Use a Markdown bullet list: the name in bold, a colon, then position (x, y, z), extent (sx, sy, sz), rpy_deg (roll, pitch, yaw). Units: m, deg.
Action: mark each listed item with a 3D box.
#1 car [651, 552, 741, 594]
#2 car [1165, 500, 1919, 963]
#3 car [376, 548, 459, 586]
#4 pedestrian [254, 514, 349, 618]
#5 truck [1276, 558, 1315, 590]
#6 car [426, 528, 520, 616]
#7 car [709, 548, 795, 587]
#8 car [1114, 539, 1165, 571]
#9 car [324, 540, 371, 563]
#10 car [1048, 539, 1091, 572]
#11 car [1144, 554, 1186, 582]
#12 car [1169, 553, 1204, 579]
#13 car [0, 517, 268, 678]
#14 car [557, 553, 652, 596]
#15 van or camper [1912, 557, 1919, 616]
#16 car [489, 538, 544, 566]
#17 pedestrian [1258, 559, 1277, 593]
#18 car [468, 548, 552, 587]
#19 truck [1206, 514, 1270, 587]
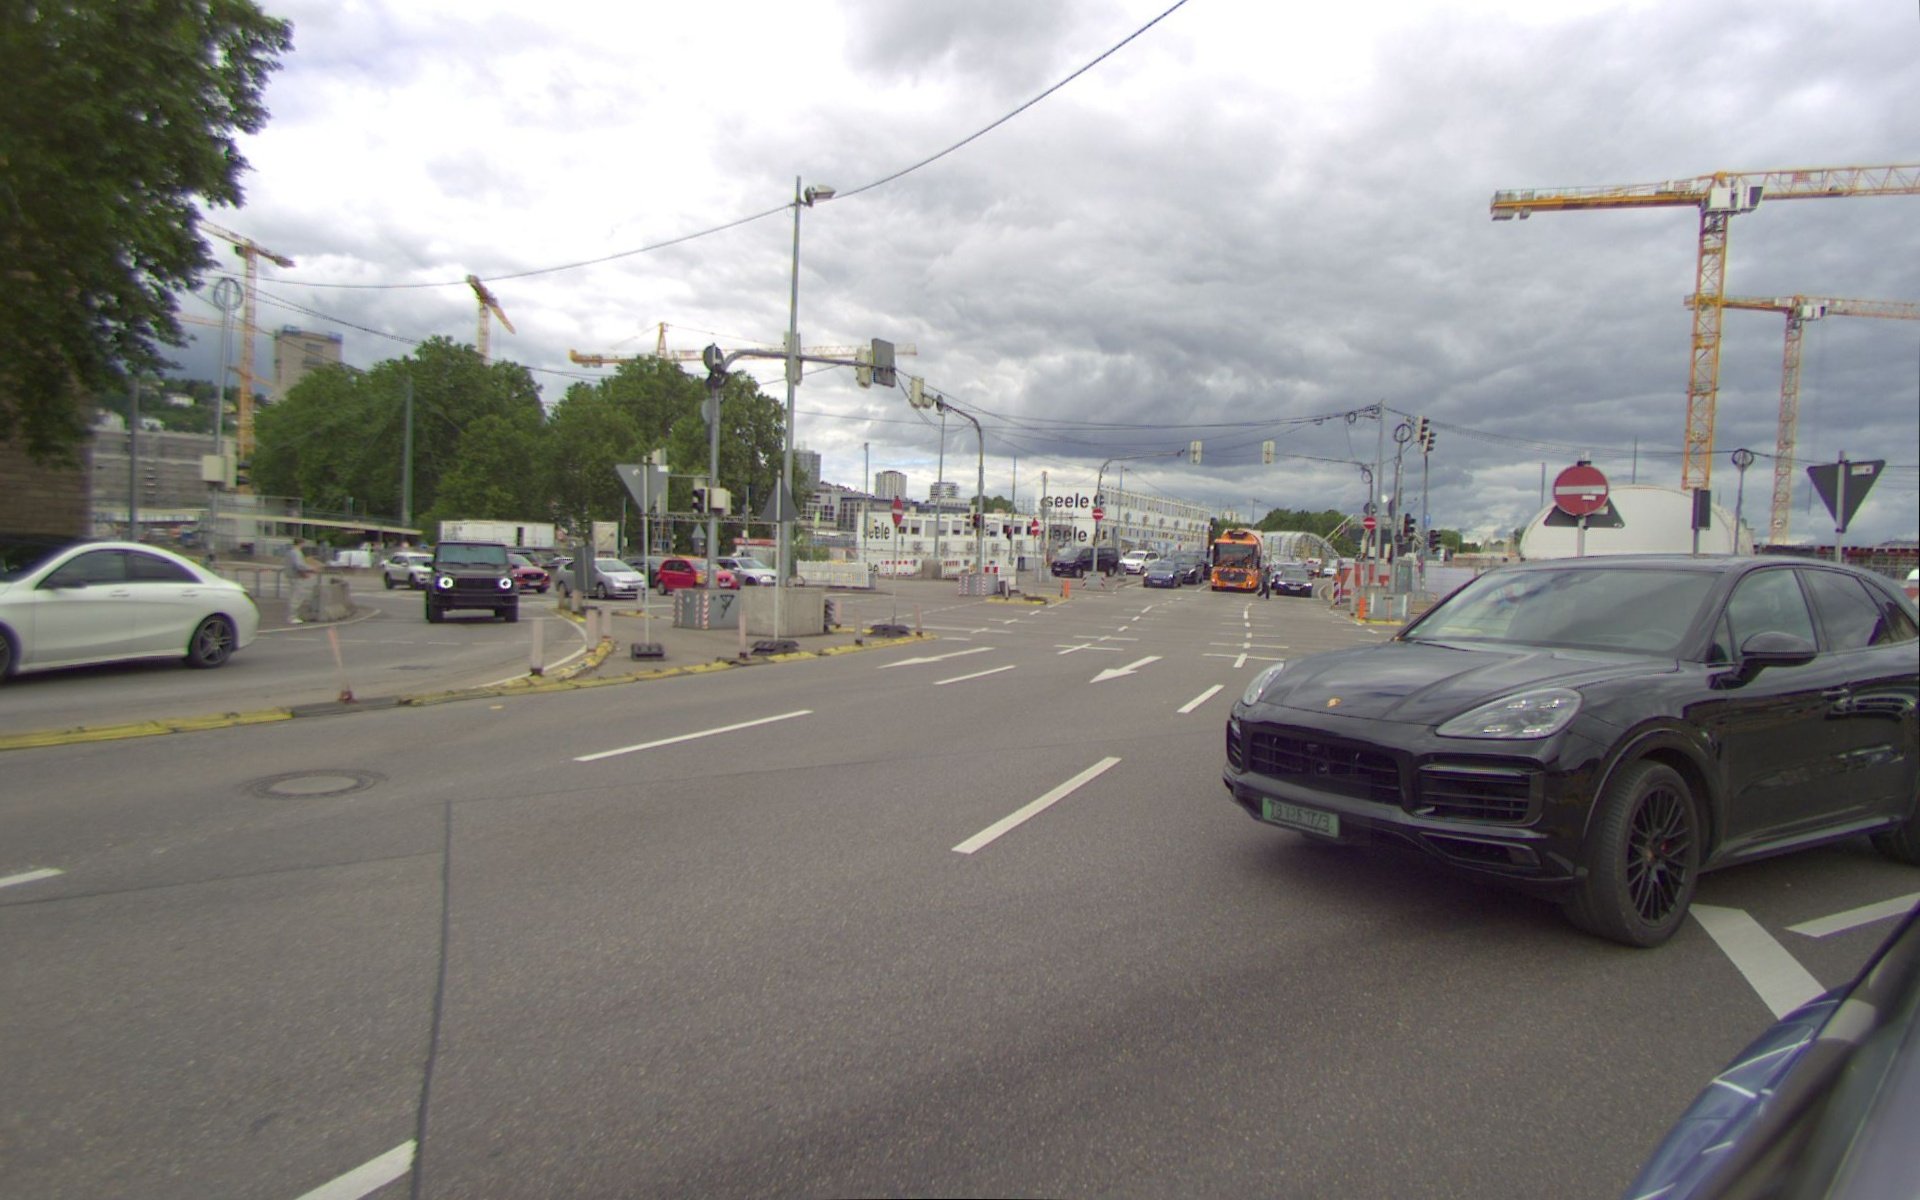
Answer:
- **car**: position (-10.134, -1.077, 38.797), extent (3.431, 1.452, 1.668), rpy_deg (4, 4, 39)
- **car**: position (3.575, 0.470, 5.489), extent (4.512, 1.668, 1.961), rpy_deg (1, 2, -25)
- **car**: position (-24.661, -1.532, 45.994), extent (3.977, 1.587, 1.815), rpy_deg (3, 4, 37)
- **pedestrian**: position (-13.560, -0.712, 20.867), extent (1.181, 2.038, 1.195), rpy_deg (2, 2, -1)
- **truck**: position (17.977, -1.403, 54.137), extent (1.804, 1.559, 3.737), rpy_deg (3, 3, 20)
- **car**: position (-11.896, -0.669, 24.646), extent (1.899, 1.962, 3.679), rpy_deg (0, 1, -27)
- **car**: position (-8.480, -1.366, 41.185), extent (3.431, 1.452, 1.671), rpy_deg (3, 5, 39)
- **car**: position (12.746, -3.147, 71.769), extent (1.988, 2.038, 4.113), rpy_deg (5, 3, 35)
- **car**: position (-46.514, -3.684, 76.887), extent (3.619, 1.708, 1.742), rpy_deg (3, 3, 35)
- **car**: position (7.153, -2.881, 66.033), extent (1.974, 2.038, 3.978), rpy_deg (4, 3, 17)
- **car**: position (11.618, -1.804, 57.109), extent (1.764, 1.452, 4.044), rpy_deg (3, 3, 19)
- **car**: position (13.979, -2.100, 62.326), extent (1.631, 1.452, 3.597), rpy_deg (3, 3, 19)
- **car**: position (-9.454, -0.073, 10.310), extent (1.708, 1.453, 4.380), rpy_deg (3, 0, 1)
- **car**: position (-13.027, -0.976, 37.041), extent (3.428, 1.452, 1.644), rpy_deg (2, 4, 37)
- **van or camper**: position (39.021, -0.512, 39.328), extent (3.923, 2.253, 2.002), rpy_deg (-1, 4, -34)
- **car**: position (-28.602, -3.080, 65.256), extent (3.628, 1.687, 1.916), rpy_deg (4, 3, 41)
- **pedestrian**: position (14.851, -1.180, 48.885), extent (0.839, 1.611, 0.620), rpy_deg (2, 2, 17)
- **car**: position (-18.352, -1.332, 41.241), extent (3.428, 1.453, 1.643), rpy_deg (4, 2, 37)
- **truck**: position (15.968, -2.836, 57.757), extent (2.874, 3.719, 8.976), rpy_deg (3, 4, 18)
